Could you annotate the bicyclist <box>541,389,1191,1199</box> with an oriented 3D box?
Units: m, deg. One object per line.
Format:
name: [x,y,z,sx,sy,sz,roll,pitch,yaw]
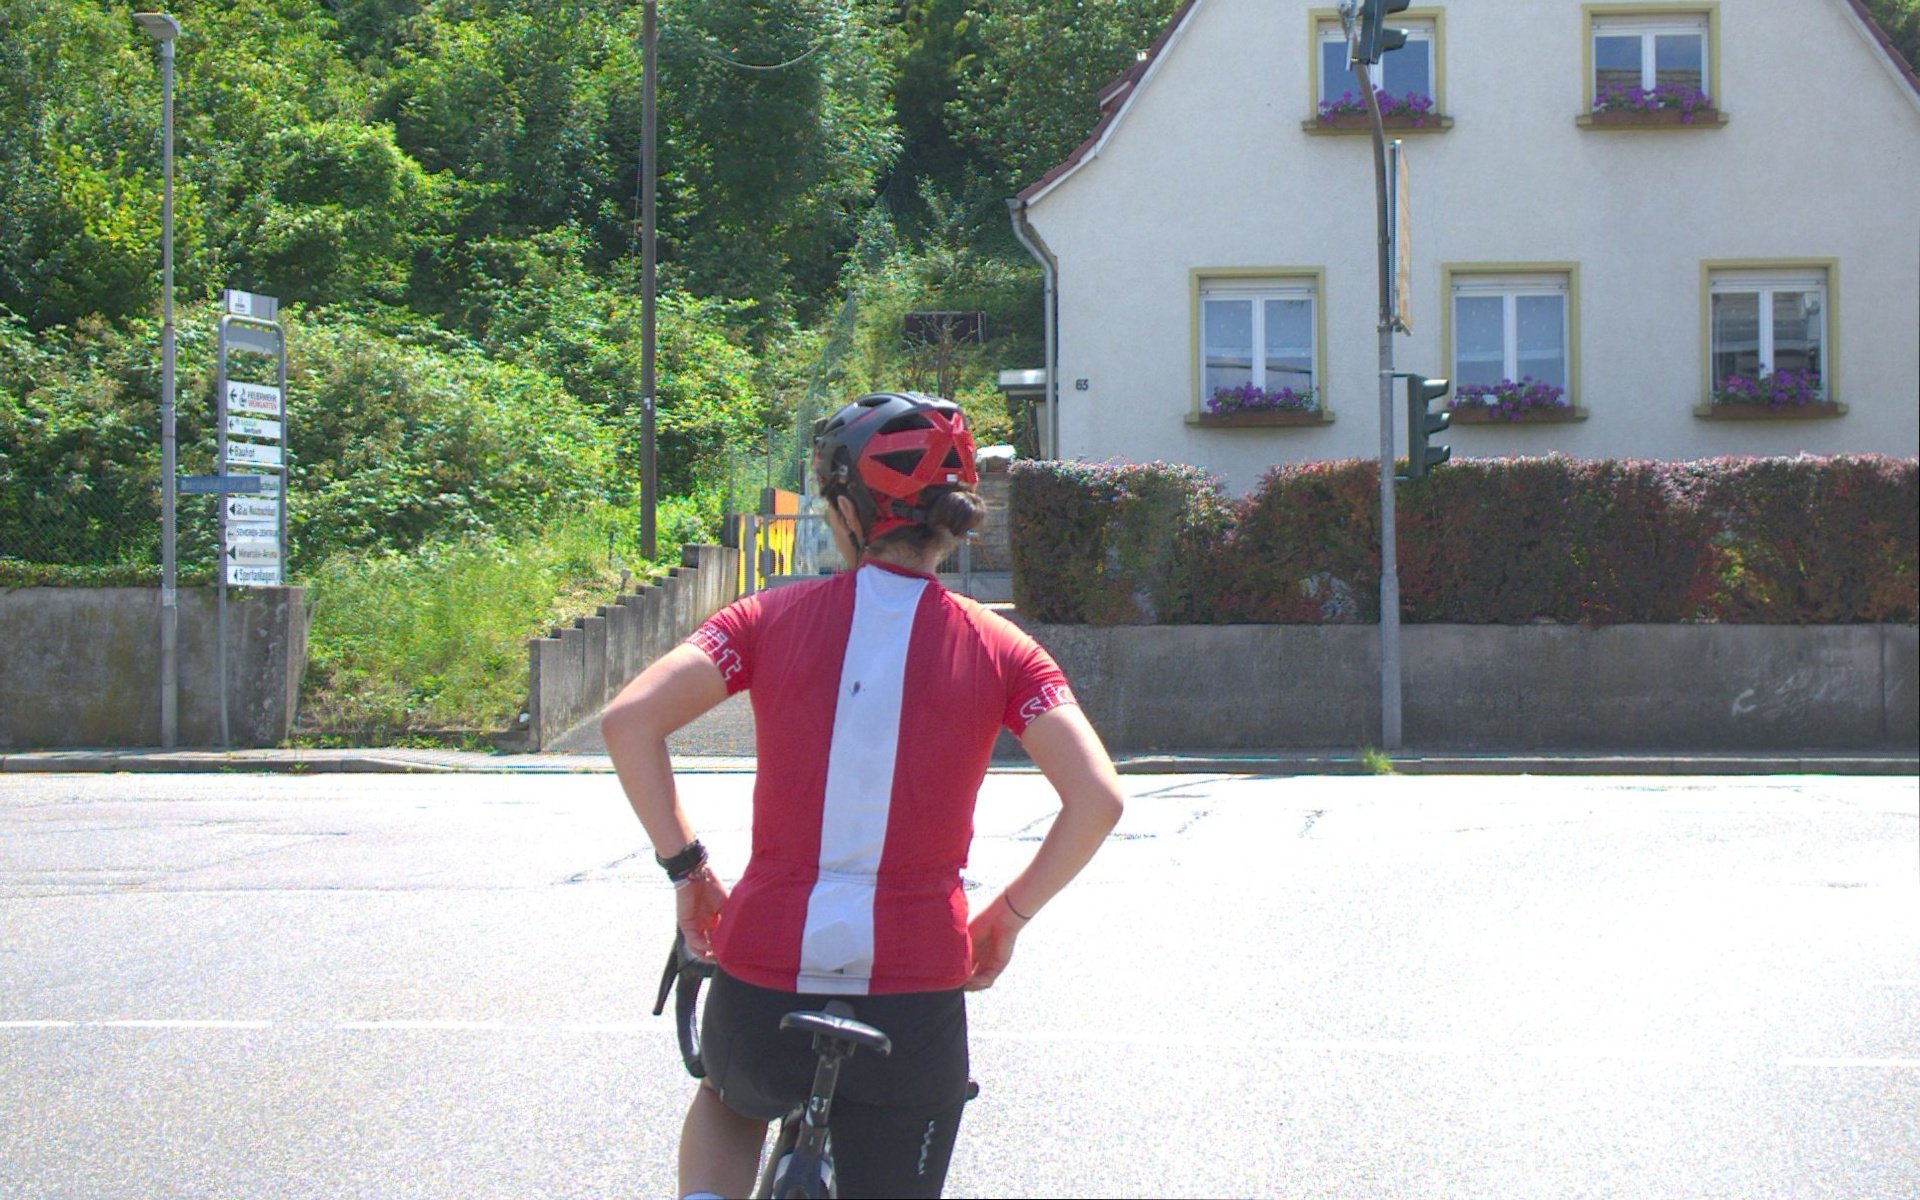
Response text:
bicyclist: [-0.145,0.579,4.559,0.760,1.659,0.869,1,1,-4]

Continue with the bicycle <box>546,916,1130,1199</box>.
bicycle: [-0.189,0.960,4.550,0.629,0.902,1.657,1,1,-4]
